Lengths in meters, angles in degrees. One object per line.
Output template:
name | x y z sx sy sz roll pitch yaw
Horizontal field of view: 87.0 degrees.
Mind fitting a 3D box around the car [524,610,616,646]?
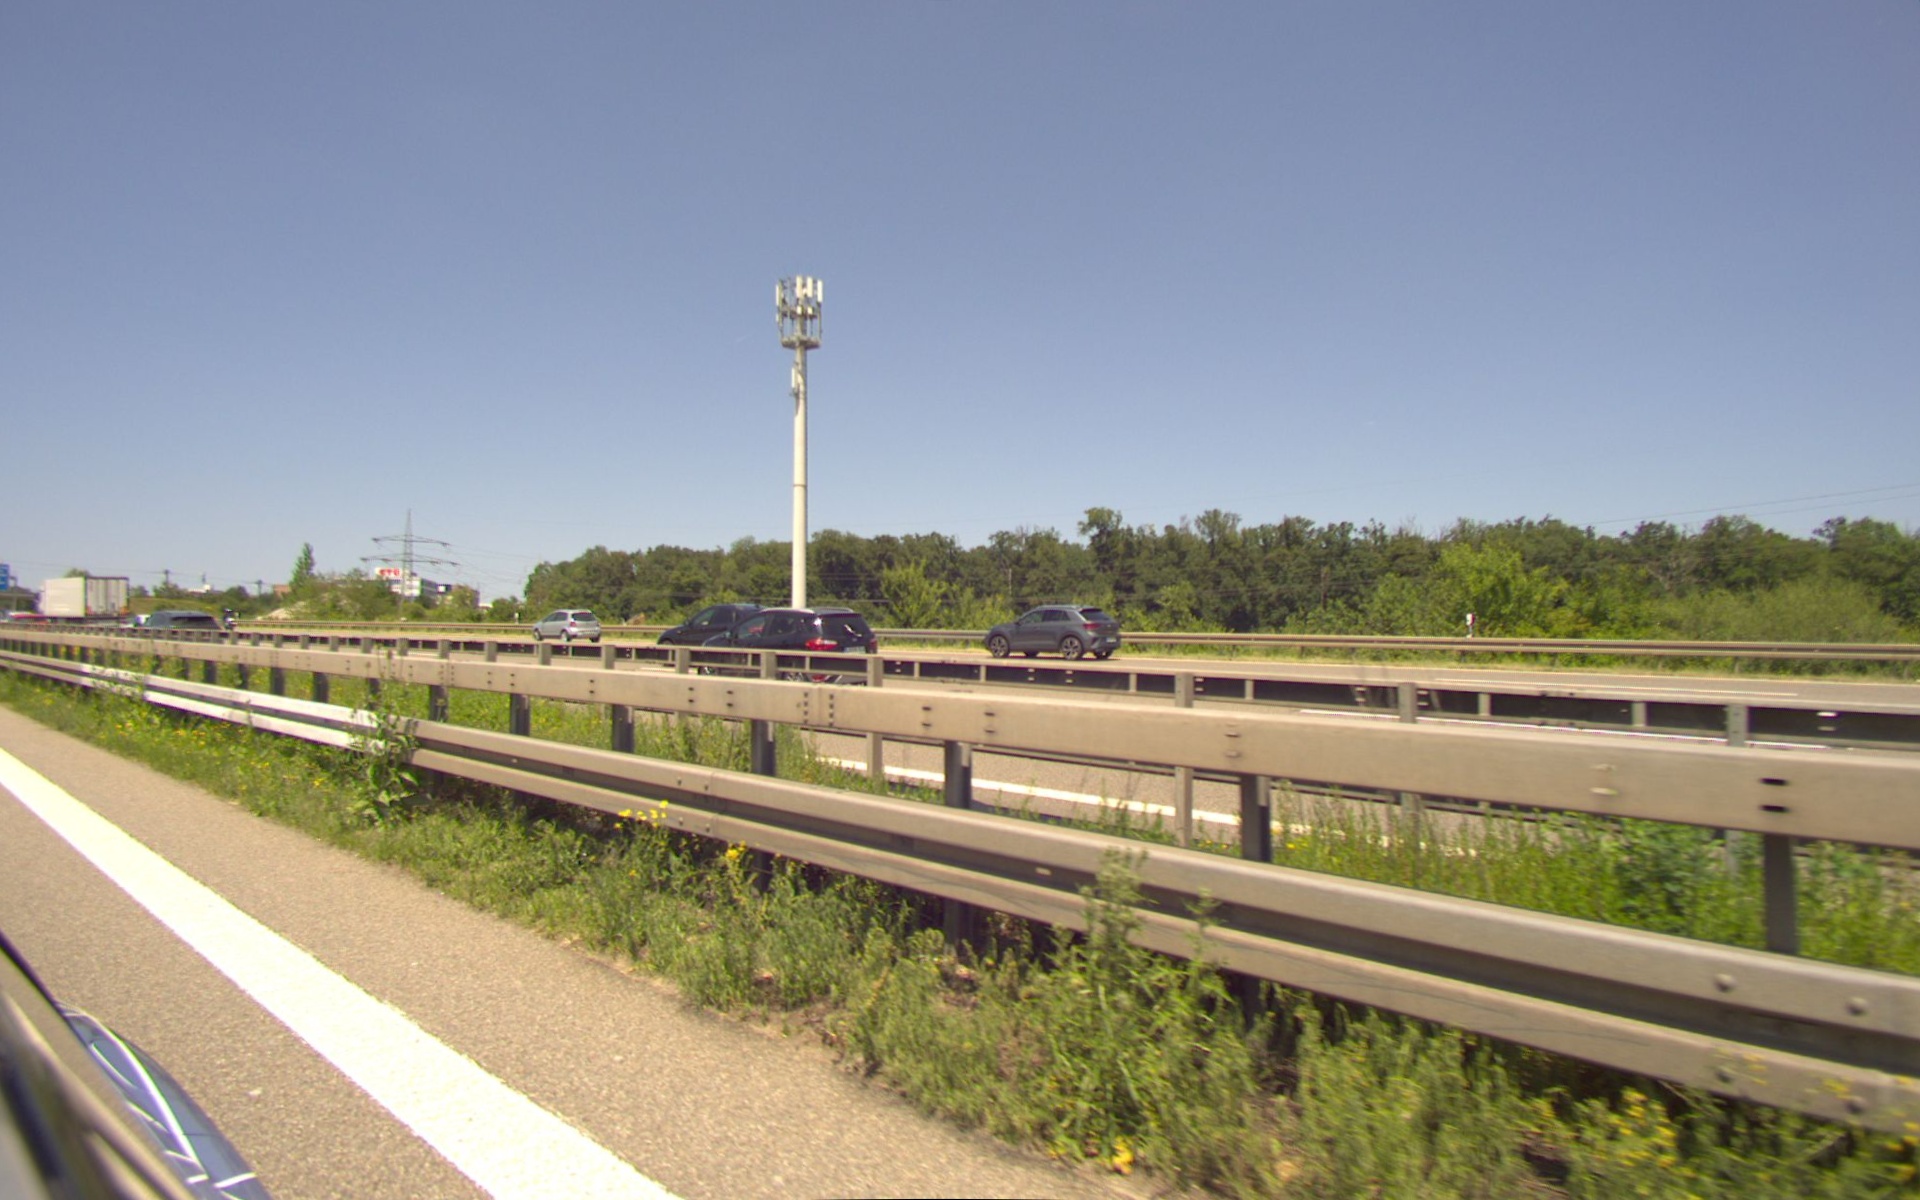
car | -17.834 1.243 46.214 4.368 1.543 2.083 -1 0 40

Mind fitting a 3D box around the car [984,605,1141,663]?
car | 2.912 0.941 29.173 4.219 1.543 1.829 -1 0 39

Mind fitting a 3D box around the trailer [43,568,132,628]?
trailer | -66.750 -0.104 77.296 12.233 4.272 3.006 -1 -1 39

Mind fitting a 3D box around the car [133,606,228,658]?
car | -26.062 1.008 33.781 4.359 1.627 1.658 0 0 40

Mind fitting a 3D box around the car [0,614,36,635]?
car | -68.836 1.777 73.839 4.006 1.500 1.723 -1 0 41

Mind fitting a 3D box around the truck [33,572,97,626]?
truck | -72.710 -0.054 82.160 6.679 4.272 3.004 -1 -1 40

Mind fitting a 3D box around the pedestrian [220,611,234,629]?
pedestrian | -54.406 1.486 75.129 1.034 1.326 0.644 0 0 40

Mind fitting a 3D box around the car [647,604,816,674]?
car | -6.075 0.952 26.558 4.908 1.668 1.828 -1 0 41

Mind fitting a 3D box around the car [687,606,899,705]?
car | -3.161 0.932 18.741 4.083 1.637 1.658 0 0 40

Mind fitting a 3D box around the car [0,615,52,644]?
car | -49.804 1.535 53.911 4.773 1.435 1.640 -1 0 41

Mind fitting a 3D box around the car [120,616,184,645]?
car | -40.828 1.507 51.109 4.755 1.414 1.640 -1 0 41
